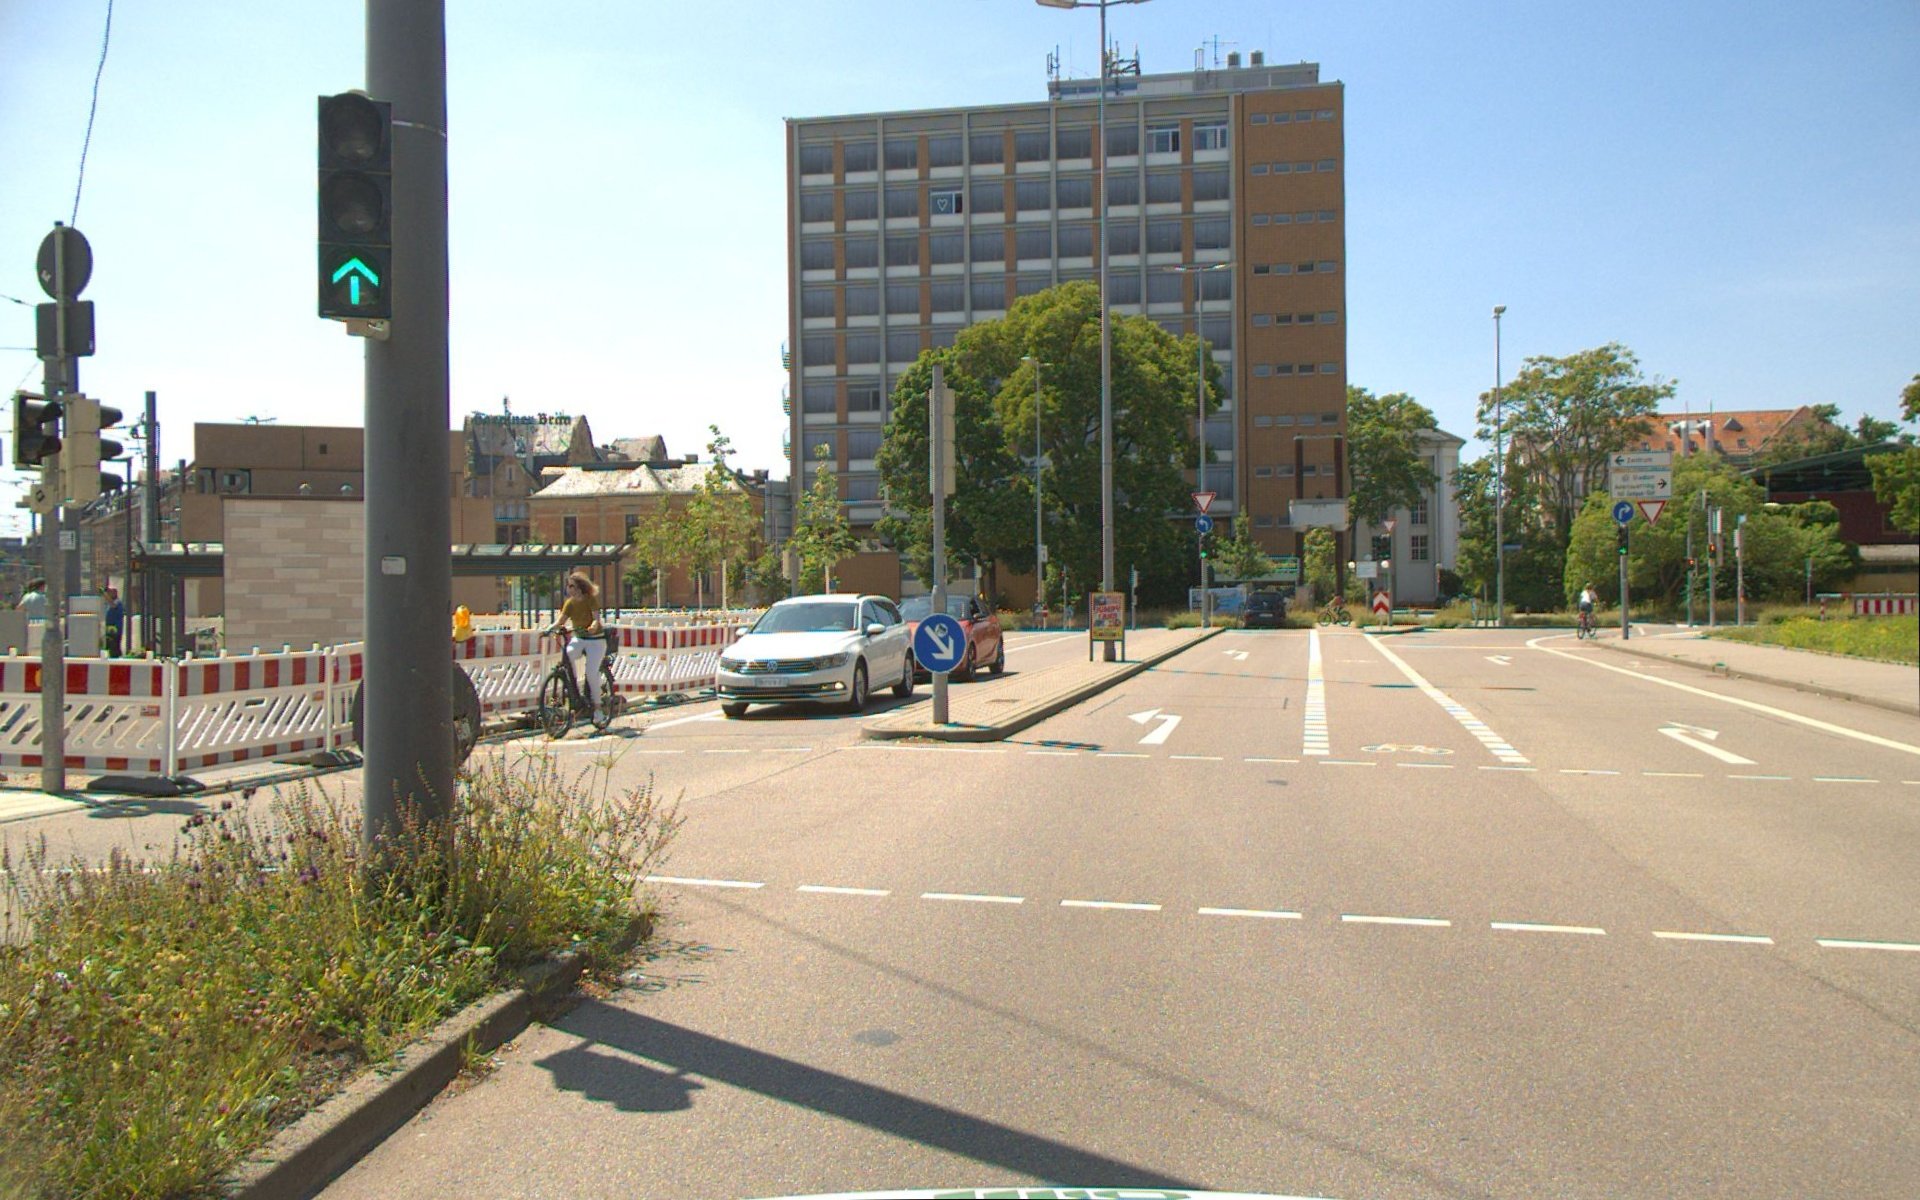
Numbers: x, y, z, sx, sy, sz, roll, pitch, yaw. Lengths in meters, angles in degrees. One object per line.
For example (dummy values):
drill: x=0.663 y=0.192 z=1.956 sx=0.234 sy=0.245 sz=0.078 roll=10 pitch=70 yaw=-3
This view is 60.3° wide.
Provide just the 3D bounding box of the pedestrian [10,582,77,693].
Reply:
pedestrian: x=-15.960 y=0.648 z=28.810 sx=0.714 sy=1.897 sz=0.766 roll=-1 pitch=-1 yaw=26

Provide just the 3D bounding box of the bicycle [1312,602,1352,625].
bicycle: x=19.502 y=0.714 z=86.663 sx=1.966 sy=1.155 sz=0.574 roll=-1 pitch=-1 yaw=24

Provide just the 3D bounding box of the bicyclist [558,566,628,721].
bicyclist: x=-4.196 y=0.493 z=18.935 sx=0.555 sy=1.749 sz=0.507 roll=-2 pitch=0 yaw=18

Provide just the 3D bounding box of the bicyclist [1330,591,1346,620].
bicyclist: x=19.768 y=0.291 z=86.567 sx=0.670 sy=1.514 sz=0.784 roll=-1 pitch=-1 yaw=23

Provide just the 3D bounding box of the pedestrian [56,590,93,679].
pedestrian: x=-19.714 y=0.768 z=36.844 sx=0.710 sy=1.957 sz=1.064 roll=0 pitch=-1 yaw=-27

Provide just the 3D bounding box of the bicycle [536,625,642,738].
bicycle: x=-4.209 y=0.902 z=18.874 sx=0.389 sy=1.194 sz=1.772 roll=-1 pitch=0 yaw=15

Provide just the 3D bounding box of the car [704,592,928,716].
car: x=-1.788 y=0.671 z=22.224 sx=1.951 sy=1.463 sz=4.709 roll=-1 pitch=-1 yaw=8

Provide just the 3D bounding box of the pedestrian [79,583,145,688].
pedestrian: x=-15.462 y=0.639 z=30.164 sx=0.970 sy=1.864 sz=0.625 roll=-1 pitch=0 yaw=-37

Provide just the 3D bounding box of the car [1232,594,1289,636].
car: x=11.655 y=0.566 z=64.295 sx=1.653 sy=1.553 sz=3.691 roll=-1 pitch=0 yaw=3

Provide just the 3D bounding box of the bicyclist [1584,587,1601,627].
bicyclist: x=19.911 y=0.213 z=52.062 sx=0.345 sy=1.249 sz=0.562 roll=-1 pitch=0 yaw=35

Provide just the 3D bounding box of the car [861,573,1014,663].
car: x=-0.318 y=0.311 z=29.180 sx=1.694 sy=1.450 sz=4.127 roll=-1 pitch=-1 yaw=14

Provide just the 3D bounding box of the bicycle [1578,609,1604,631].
bicycle: x=19.862 y=0.627 z=52.054 sx=0.370 sy=0.657 sz=1.639 roll=-1 pitch=0 yaw=35
